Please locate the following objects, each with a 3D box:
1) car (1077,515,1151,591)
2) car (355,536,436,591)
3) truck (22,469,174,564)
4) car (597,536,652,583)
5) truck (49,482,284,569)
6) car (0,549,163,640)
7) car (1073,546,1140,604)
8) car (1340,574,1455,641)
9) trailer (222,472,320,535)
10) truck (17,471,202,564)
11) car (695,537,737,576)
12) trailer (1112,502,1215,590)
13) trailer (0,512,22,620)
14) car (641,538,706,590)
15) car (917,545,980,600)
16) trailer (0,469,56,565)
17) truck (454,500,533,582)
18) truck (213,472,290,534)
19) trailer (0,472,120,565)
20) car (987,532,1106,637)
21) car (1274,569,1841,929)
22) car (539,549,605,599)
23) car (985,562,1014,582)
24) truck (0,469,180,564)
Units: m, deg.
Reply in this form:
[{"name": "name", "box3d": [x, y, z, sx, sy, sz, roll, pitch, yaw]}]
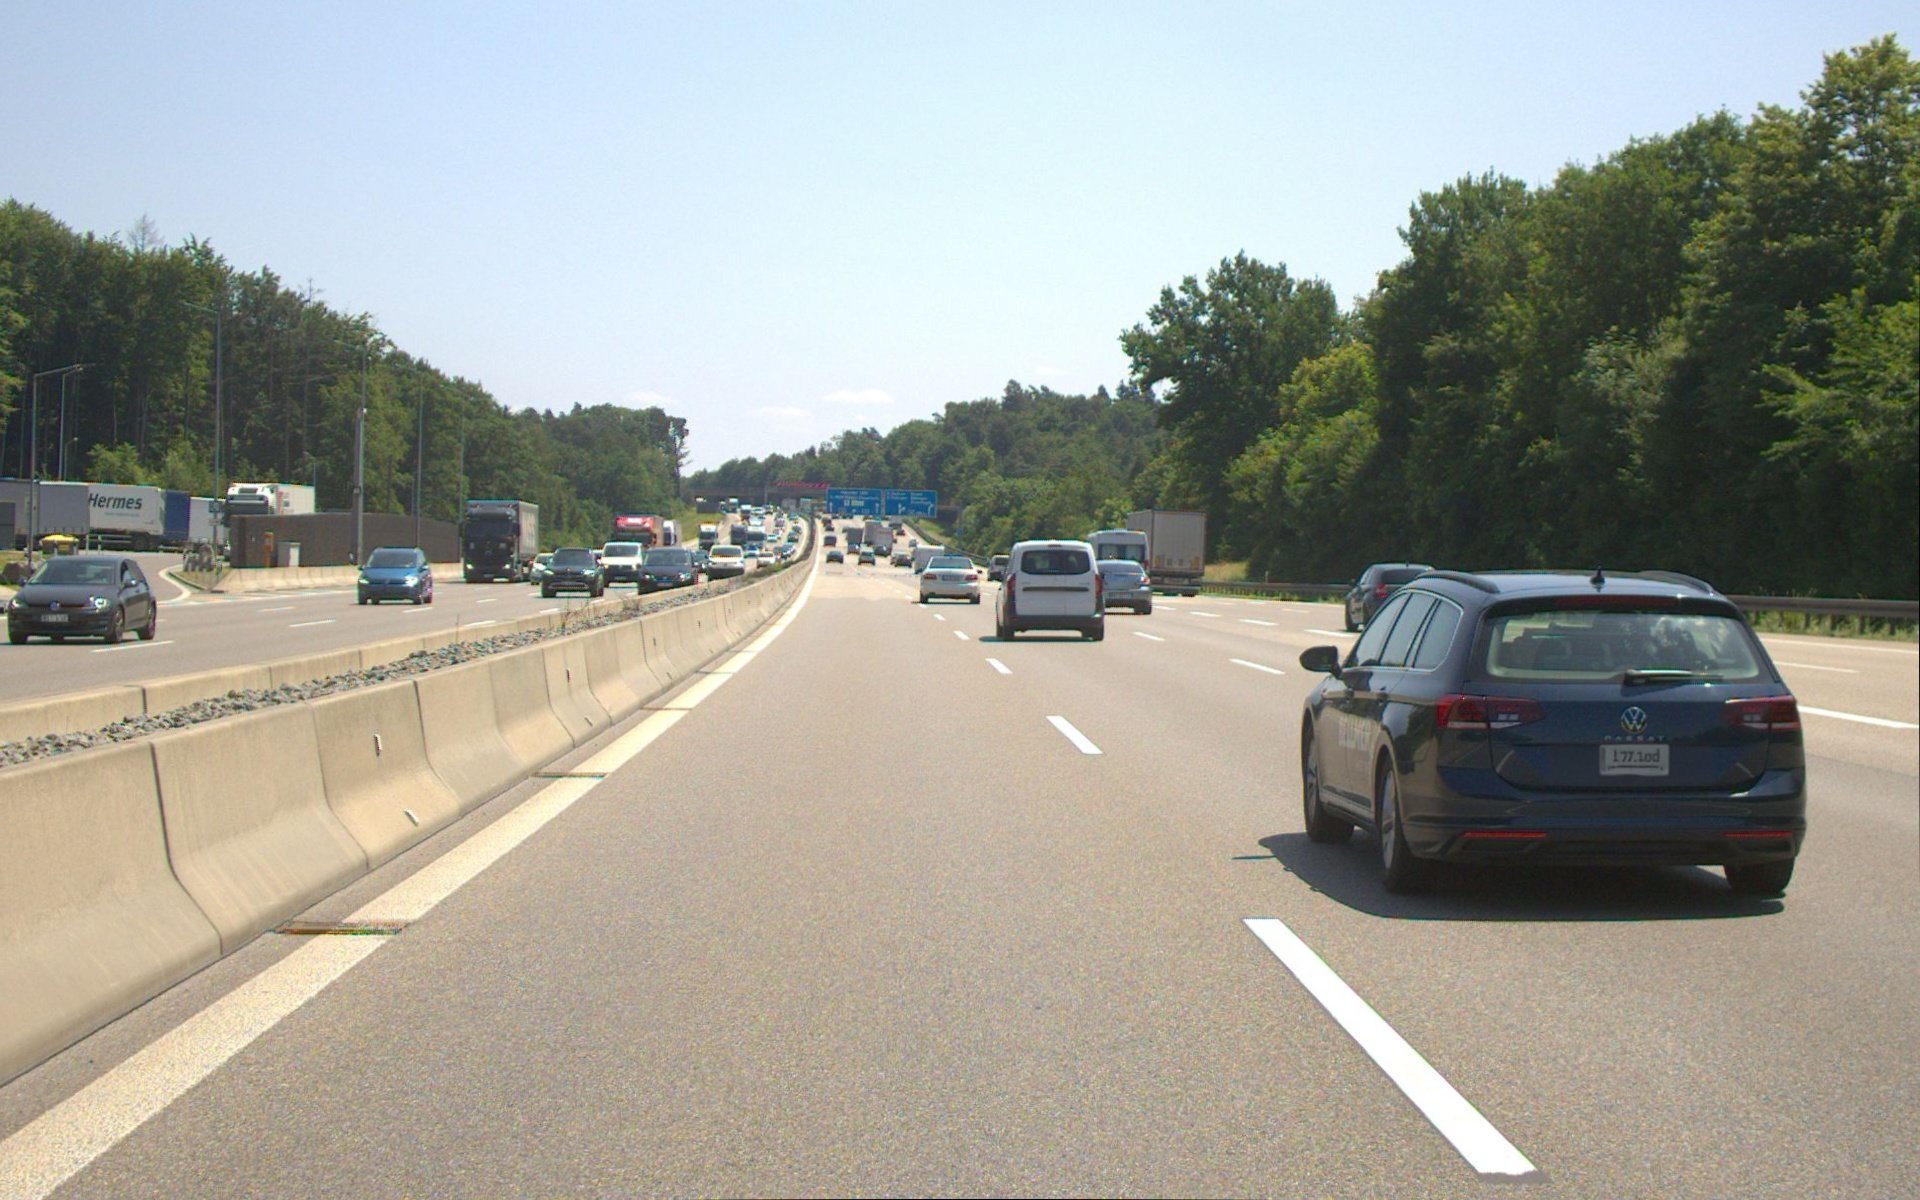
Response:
[{"name": "car", "box3d": [5.589, -1.747, 125.457, 2.143, 2.643, 5.710, 2, 1, -2]}, {"name": "car", "box3d": [-16.502, -1.078, 100.709, 1.729, 1.565, 4.673, 0, 1, -2]}, {"name": "truck", "box3d": [-52.511, -5.053, 209.589, 3.226, 5.593, 8.467, 2, 1, 42]}, {"name": "car", "box3d": [-14.745, -1.774, 151.304, 1.993, 2.007, 5.130, 1, 1, -2]}, {"name": "truck", "box3d": [-54.801, -5.120, 238.066, 3.448, 5.593, 16.668, 2, 1, 43]}, {"name": "car", "box3d": [-14.625, -0.119, 57.314, 1.729, 1.459, 4.577, 0, 1, -2]}, {"name": "car", "box3d": [3.914, -0.667, 92.064, 1.503, 1.495, 3.650, 1, 1, -2]}, {"name": "car", "box3d": [8.950, 0.133, 70.593, 1.670, 1.269, 4.290, 1, 1, -2]}, {"name": "trailer", "box3d": [-37.466, -5.174, 187.418, 2.971, 3.113, 14.611, 1, 1, -2]}, {"name": "truck", "box3d": [-53.947, -5.169, 218.405, 3.226, 5.593, 11.508, 2, 1, 42]}, {"name": "car", "box3d": [-12.761, -2.301, 179.975, 1.993, 2.007, 5.130, 0, 1, -2]}, {"name": "trailer", "box3d": [9.772, -2.720, 167.142, 3.287, 3.917, 13.893, 3, 1, -3]}, {"name": "trailer", "box3d": [-19.153, -0.629, 64.007, 1.854, 2.044, 6.153, 0, 1, -2]}, {"name": "car", "box3d": [-9.354, -1.186, 112.406, 1.849, 1.672, 5.045, 0, 1, -2]}, {"name": "car", "box3d": [-0.377, -0.861, 106.753, 1.843, 1.623, 4.554, 1, 1, -1]}, {"name": "trailer", "box3d": [-54.862, -4.529, 181.011, 3.127, 5.055, 14.530, 2, 1, 43]}, {"name": "truck", "box3d": [-22.890, -2.906, 168.932, 3.287, 3.917, 5.540, 1, 1, -2]}, {"name": "truck", "box3d": [-37.205, -5.072, 180.648, 2.926, 3.113, 6.203, 1, 1, -2]}, {"name": "trailer", "box3d": [-54.199, -4.633, 192.289, 3.221, 5.055, 14.530, 2, 1, 43]}, {"name": "car", "box3d": [1.538, -0.299, 62.793, 1.859, 1.819, 4.613, 1, 1, -2]}, {"name": "car", "box3d": [2.682, 0.589, 16.587, 1.729, 1.442, 4.962, 0, 1, -2]}, {"name": "car", "box3d": [-13.335, -0.918, 118.304, 1.827, 1.693, 5.004, 0, 1, -2]}, {"name": "car", "box3d": [2.704, -1.958, 236.134, 1.835, 1.333, 3.643, 1, 1, -2]}, {"name": "truck", "box3d": [-54.143, -5.116, 212.886, 3.226, 5.593, 11.508, 2, 1, 42]}]
